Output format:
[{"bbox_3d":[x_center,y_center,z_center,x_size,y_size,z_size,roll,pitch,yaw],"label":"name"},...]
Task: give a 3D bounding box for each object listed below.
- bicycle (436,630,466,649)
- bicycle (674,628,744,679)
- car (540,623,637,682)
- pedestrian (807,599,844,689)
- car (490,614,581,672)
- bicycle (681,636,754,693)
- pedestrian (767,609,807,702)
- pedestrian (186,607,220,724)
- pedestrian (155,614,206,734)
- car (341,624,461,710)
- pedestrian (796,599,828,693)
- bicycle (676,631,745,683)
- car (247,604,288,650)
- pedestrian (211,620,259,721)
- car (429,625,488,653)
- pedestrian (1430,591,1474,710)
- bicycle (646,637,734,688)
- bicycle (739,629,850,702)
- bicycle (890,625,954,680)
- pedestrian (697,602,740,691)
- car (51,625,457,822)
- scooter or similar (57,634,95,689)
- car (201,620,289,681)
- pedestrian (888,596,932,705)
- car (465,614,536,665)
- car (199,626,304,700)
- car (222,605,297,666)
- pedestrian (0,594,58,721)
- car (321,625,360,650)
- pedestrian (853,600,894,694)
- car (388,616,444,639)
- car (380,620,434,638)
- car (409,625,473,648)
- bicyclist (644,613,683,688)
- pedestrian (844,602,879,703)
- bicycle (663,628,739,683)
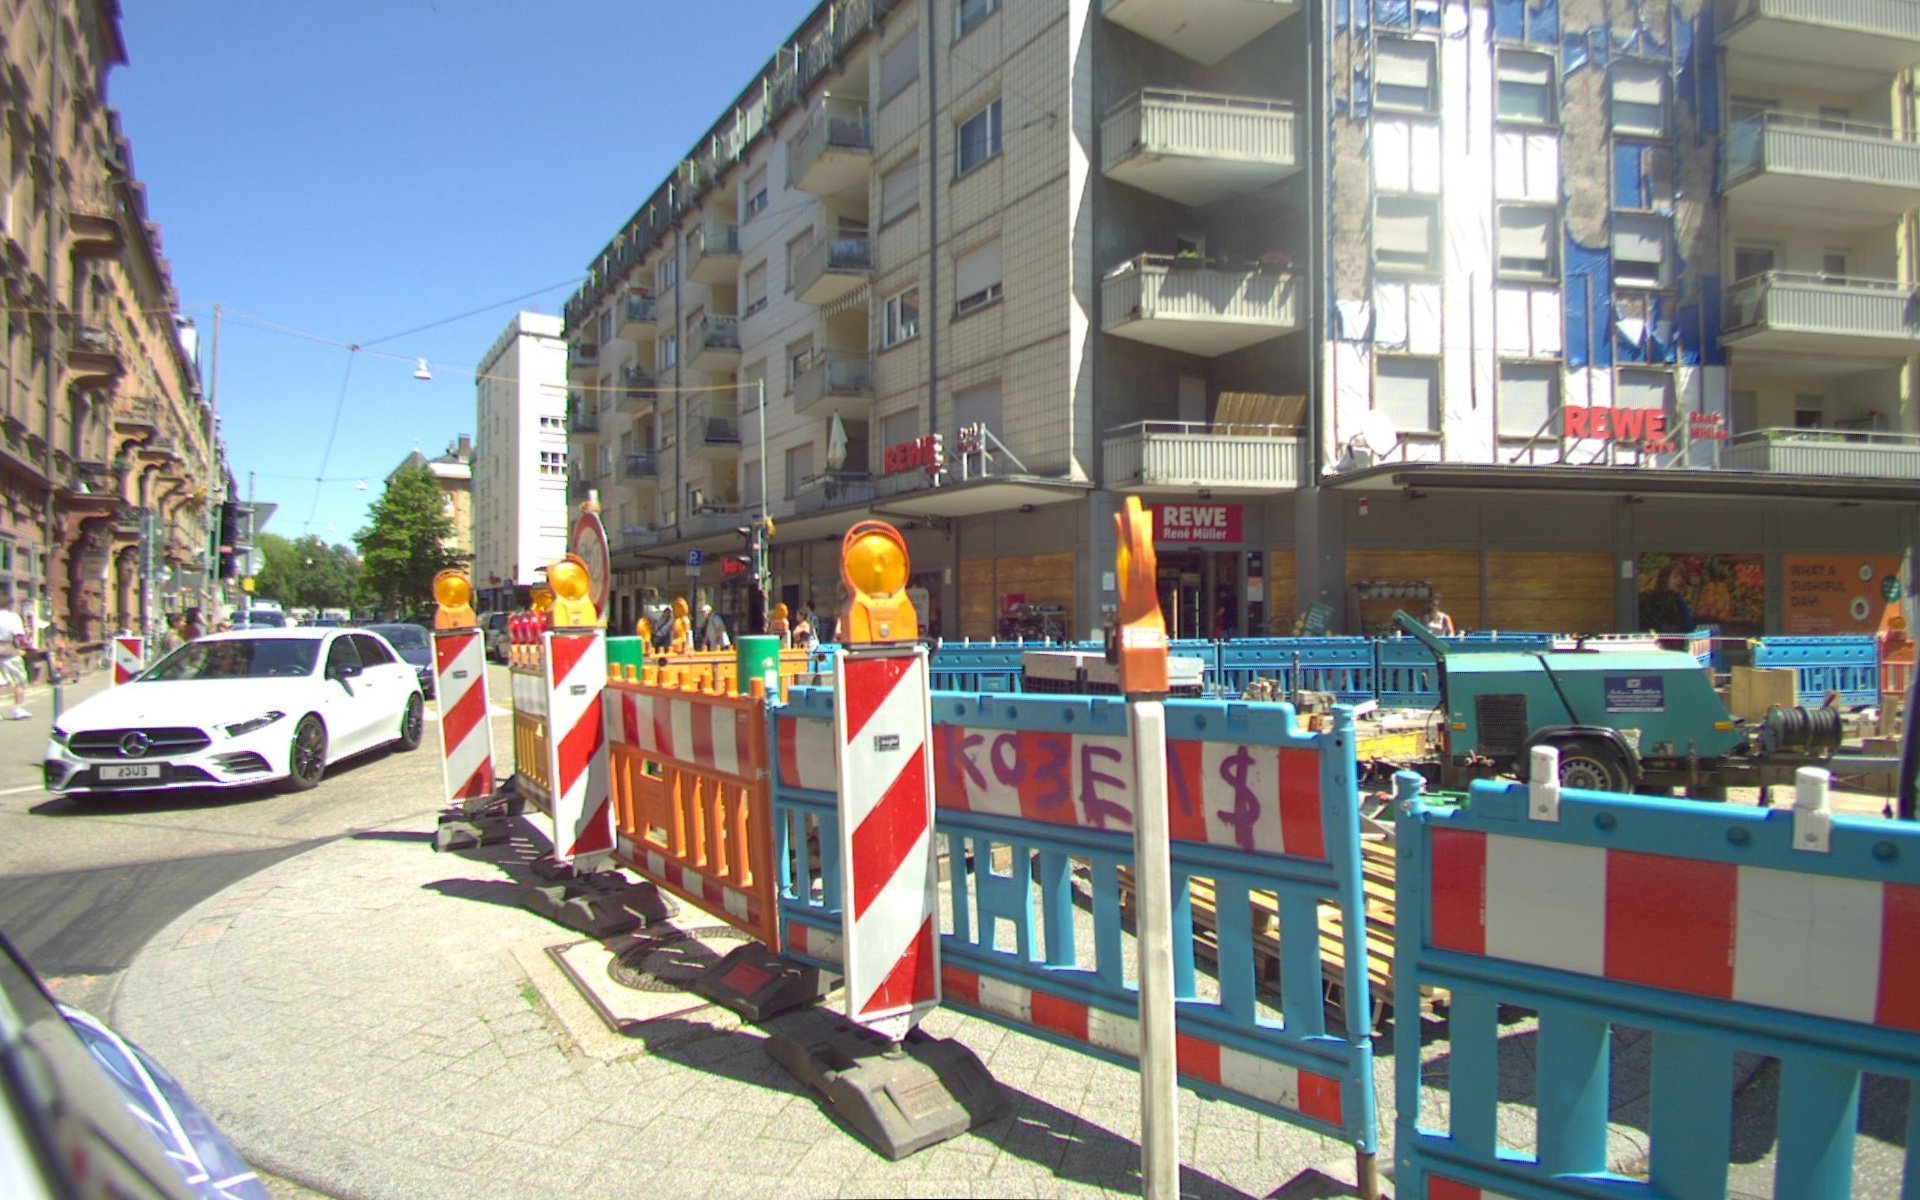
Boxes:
[{"bbox_3d":[-30.769,2.389,61.125,1.583,1.099,0.372,-2,0,-29],"label":"bicycle"},{"bbox_3d":[-5.634,1.178,22.768,1.475,1.038,0.399,-2,0,-38],"label":"bicycle"},{"bbox_3d":[-10.859,1.450,29.385,1.647,1.536,4.475,-1,-1,-34],"label":"car"},{"bbox_3d":[-2.697,0.872,20.280,0.502,1.784,0.601,1,-1,-36],"label":"pedestrian"},{"bbox_3d":[-14.702,1.434,34.899,1.765,1.825,4.709,-1,-1,-37],"label":"car"},{"bbox_3d":[-5.260,1.388,21.999,1.500,1.125,0.336,-2,0,-38],"label":"bicycle"},{"bbox_3d":[-3.138,0.986,18.328,0.534,1.645,0.512,1,-1,-36],"label":"pedestrian"},{"bbox_3d":[-11.111,0.950,14.853,0.327,1.688,0.403,0,-1,-28],"label":"pedestrian"},{"bbox_3d":[-10.424,0.970,13.547,0.453,1.572,0.480,0,-1,-28],"label":"pedestrian"},{"bbox_3d":[-11.462,1.281,20.621,1.752,1.480,4.010,-2,0,-34],"label":"car"},{"bbox_3d":[-2.552,0.784,17.473,0.489,1.577,0.460,-2,-1,-8],"label":"pedestrian"},{"bbox_3d":[-5.495,1.250,22.358,1.429,1.043,0.336,-2,0,-38],"label":"bicycle"},{"bbox_3d":[-43.551,1.661,63.699,2.035,2.723,5.052,-2,0,-34],"label":"car"},{"bbox_3d":[-11.462,1.109,16.011,0.486,1.555,0.438,3,-2,-28],"label":"pedestrian"},{"bbox_3d":[-26.826,2.044,54.099,1.788,1.436,3.895,1,-2,-44],"label":"car"},{"bbox_3d":[7.322,0.744,15.072,0.385,1.728,0.589,0,-1,5],"label":"pedestrian"},{"bbox_3d":[-6.362,1.453,23.884,1.907,1.100,0.606,-1,-1,-33],"label":"bicycle"},{"bbox_3d":[-2.797,1.094,17.098,1.780,1.127,0.469,-2,-1,-13],"label":"bicycle"},{"bbox_3d":[-0.798,1.072,20.831,1.430,1.094,0.317,-2,-2,37],"label":"bicycle"},{"bbox_3d":[-4.870,0.920,20.394,0.647,1.740,0.634,1,-1,-36],"label":"pedestrian"},{"bbox_3d":[-6.441,0.981,9.879,1.785,1.436,4.252,-1,-1,-13],"label":"car"},{"bbox_3d":[-19.829,1.365,22.707,0.288,1.186,1.276,0,-1,-25],"label":"scooter or similar"},{"bbox_3d":[-18.646,1.256,26.382,1.702,1.443,4.496,2,-2,-36],"label":"car"},{"bbox_3d":[-0.867,0.850,17.332,0.502,1.834,0.601,1,-1,-36],"label":"pedestrian"},{"bbox_3d":[-18.242,1.521,40.047,1.764,1.843,4.913,-1,-1,-34],"label":"car"},{"bbox_3d":[-15.186,1.298,21.842,1.605,1.443,3.671,2,-2,-32],"label":"car"},{"bbox_3d":[-22.265,1.107,32.141,1.800,1.780,4.348,2,-2,-36],"label":"car"},{"bbox_3d":[-13.326,0.785,14.343,0.471,1.745,0.874,0,0,-15],"label":"pedestrian"},{"bbox_3d":[-36.043,2.161,58.839,1.720,1.401,4.010,0,-1,-35],"label":"car"},{"bbox_3d":[-1.549,0.831,18.096,0.502,1.645,0.601,1,-1,-36],"label":"pedestrian"},{"bbox_3d":[-43.510,2.196,80.974,3.823,1.760,1.656,0,-1,-35],"label":"car"},{"bbox_3d":[-46.738,2.423,85.555,3.823,1.507,1.656,0,-1,-35],"label":"car"},{"bbox_3d":[-36.184,2.501,70.566,3.823,1.540,1.656,0,-1,-35],"label":"car"},{"bbox_3d":[-7.072,1.185,24.144,0.614,1.719,0.981,-1,1,-32],"label":"bicyclist"},{"bbox_3d":[-1.620,0.855,16.641,0.384,1.630,0.476,1,-1,-36],"label":"pedestrian"},{"bbox_3d":[-5.934,1.258,23.199,1.563,1.148,0.528,-2,0,-37],"label":"bicycle"}]
